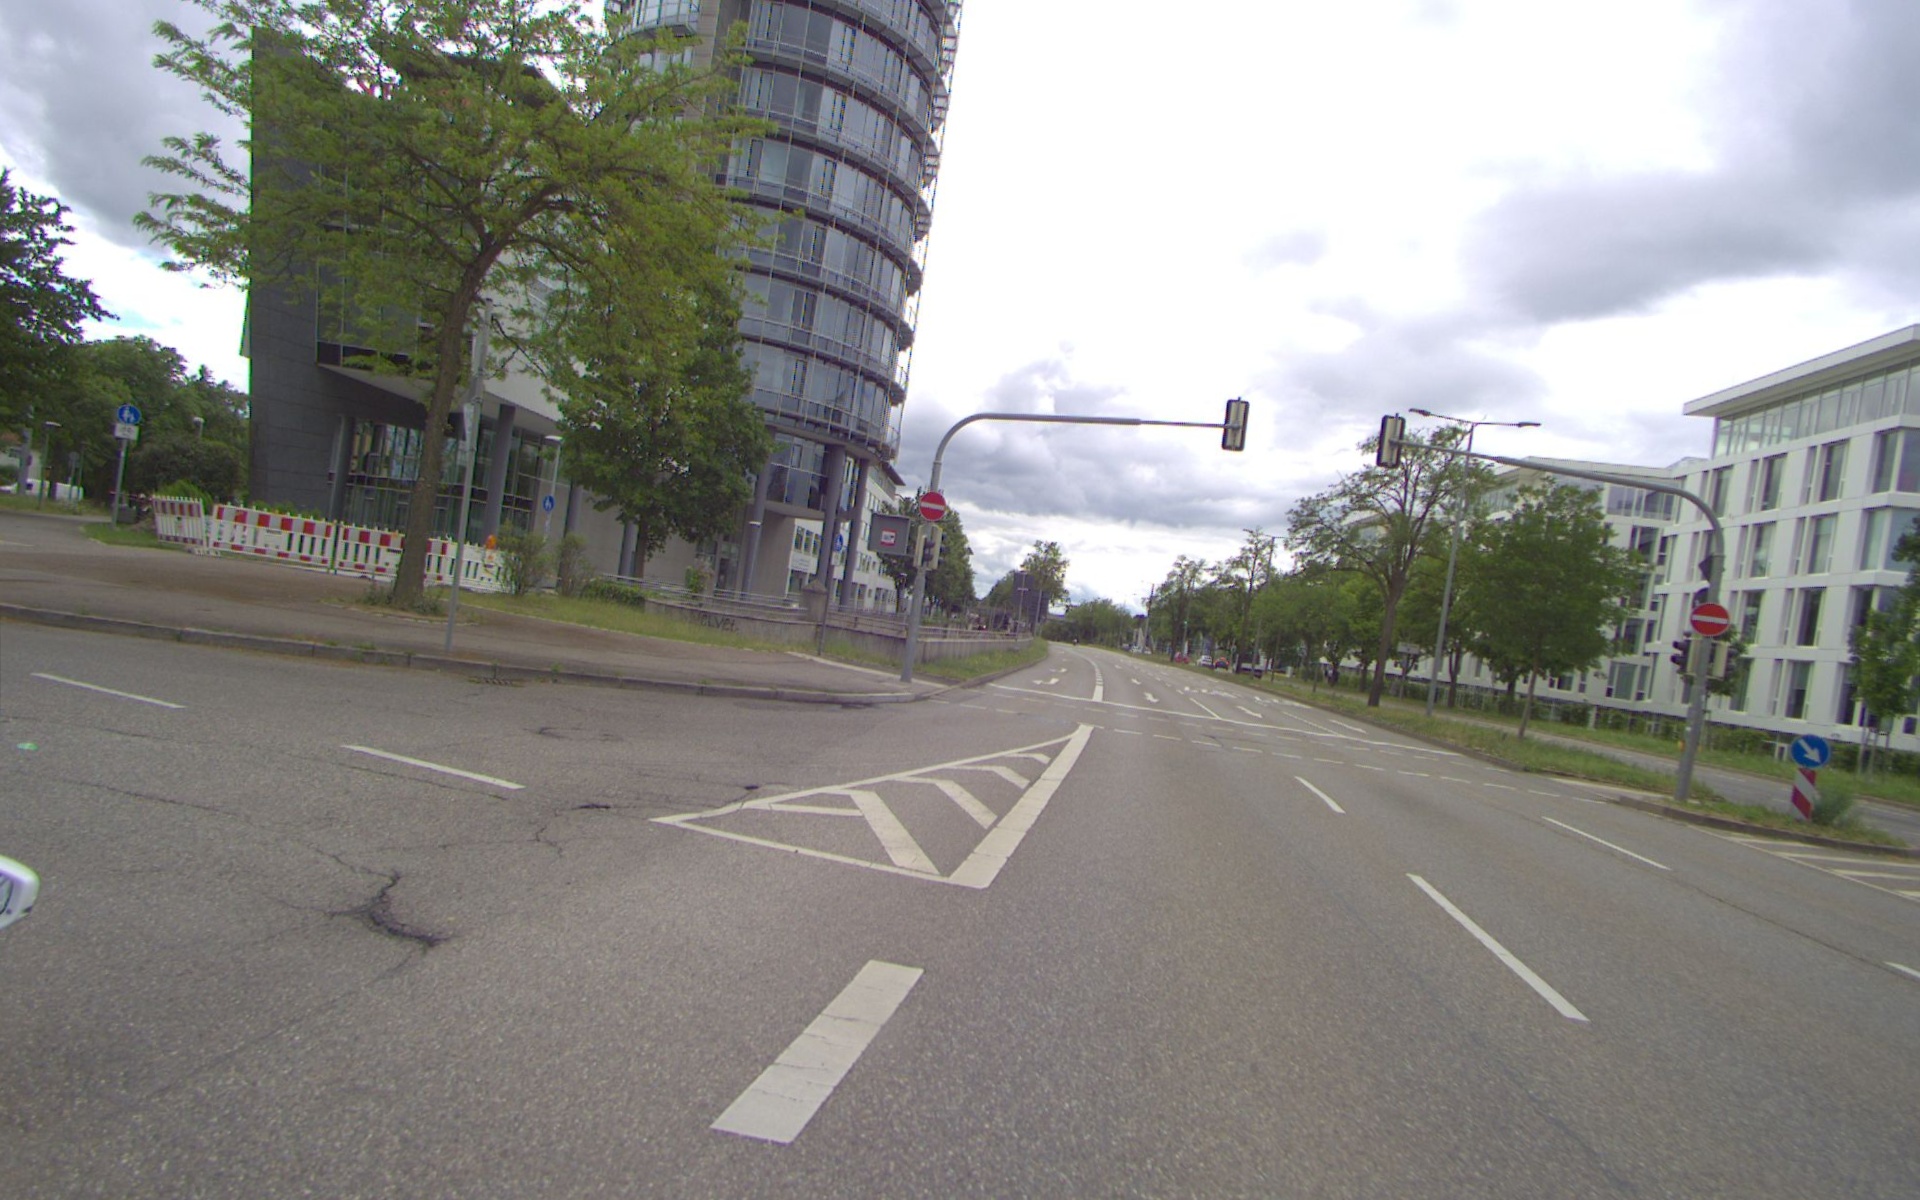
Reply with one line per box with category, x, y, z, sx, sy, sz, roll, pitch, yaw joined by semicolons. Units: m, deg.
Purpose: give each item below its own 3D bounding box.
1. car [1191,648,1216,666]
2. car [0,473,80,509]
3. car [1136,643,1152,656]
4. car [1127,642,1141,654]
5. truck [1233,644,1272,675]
car;28.407;6.665;117.657;1.842;1.692;3.890;10;-2;2
car;-96.820;-11.448;105.059;2.048;2.550;6.981;9;-1;26
car;29.293;7.902;159.987;1.963;1.669;4.005;10;-2;6
car;30.169;8.392;174.622;1.963;1.669;4.005;10;-2;6
truck;27.676;5.632;95.401;2.515;2.402;4.595;10;-2;8
